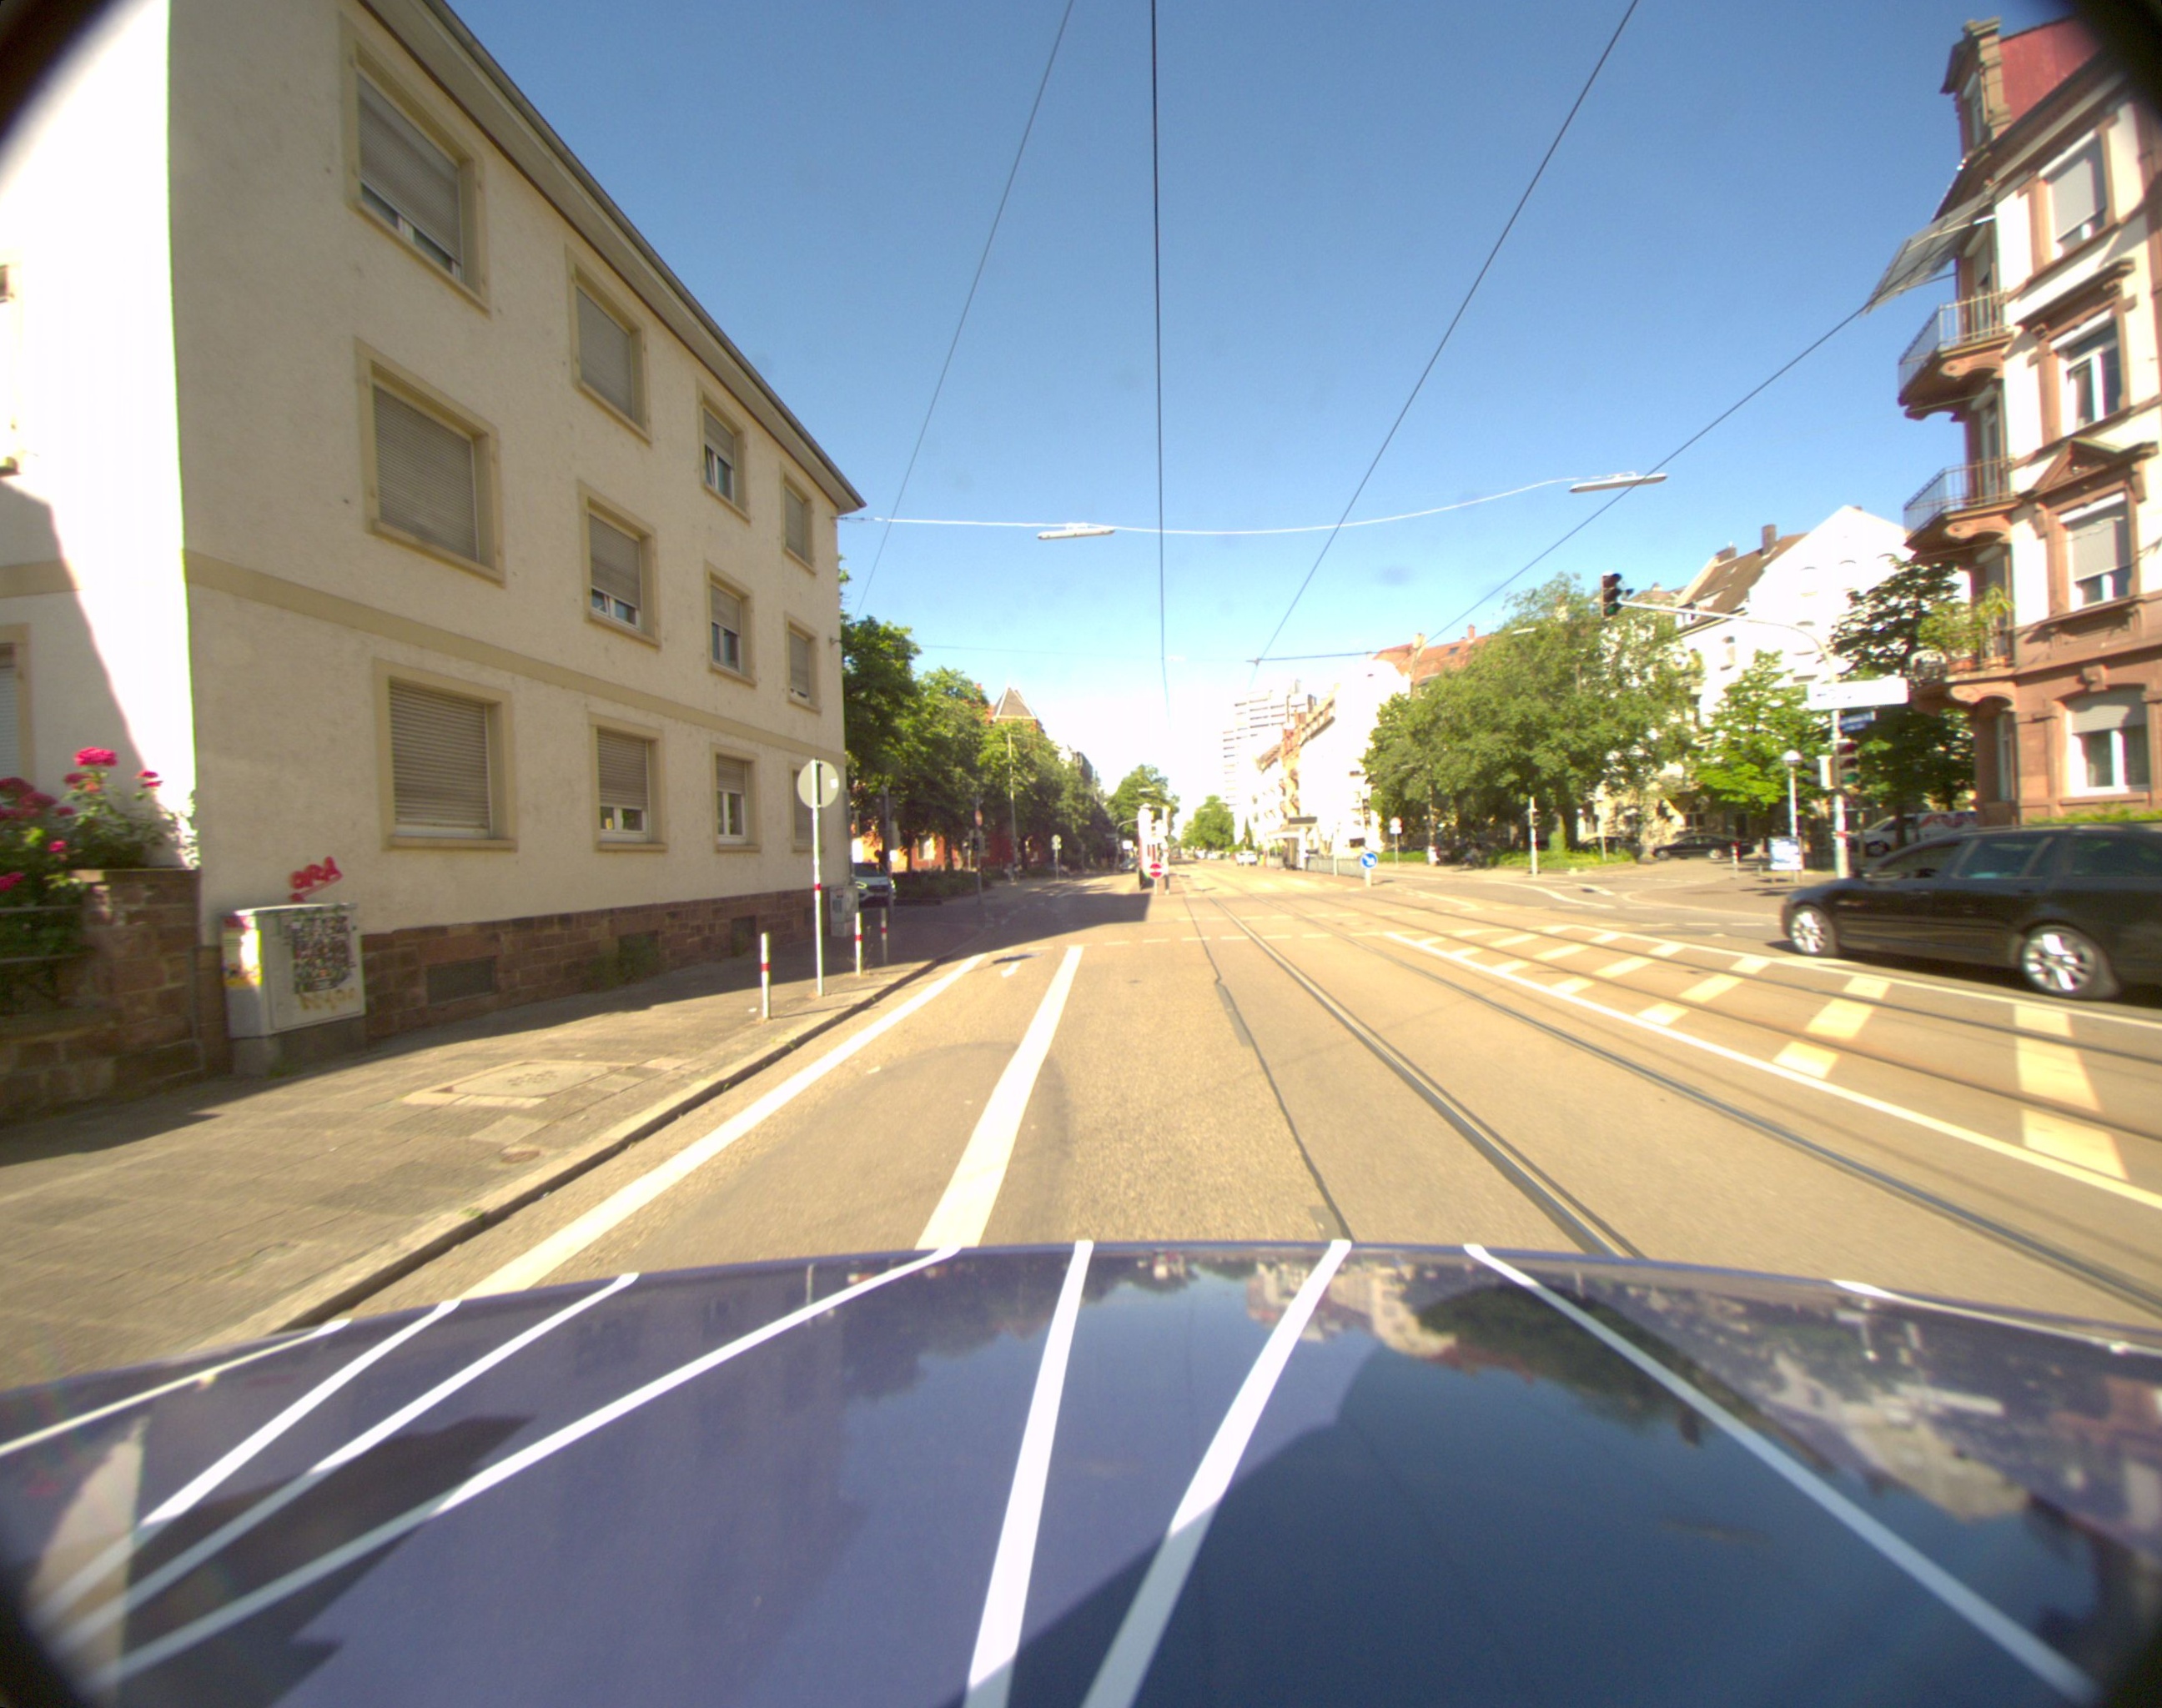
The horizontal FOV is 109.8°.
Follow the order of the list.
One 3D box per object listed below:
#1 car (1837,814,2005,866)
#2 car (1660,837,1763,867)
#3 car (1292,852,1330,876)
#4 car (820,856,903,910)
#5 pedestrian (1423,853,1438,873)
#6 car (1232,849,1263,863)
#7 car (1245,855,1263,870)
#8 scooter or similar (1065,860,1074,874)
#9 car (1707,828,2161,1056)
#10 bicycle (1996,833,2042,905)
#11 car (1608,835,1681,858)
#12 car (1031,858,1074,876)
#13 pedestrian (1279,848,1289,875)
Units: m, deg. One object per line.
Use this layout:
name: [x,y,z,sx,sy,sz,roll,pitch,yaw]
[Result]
car: [38.586,-0.638,35.121,4.846,1.931,1.928,-5,0,37]
car: [34.489,-0.116,41.679,1.741,1.533,4.011,-2,1,-17]
car: [17.393,0.741,57.700,1.901,1.608,4.266,-2,1,5]
car: [-9.683,1.314,33.242,1.690,2.079,4.747,-5,0,-38]
pedestrian: [23.699,0.617,51.518,0.658,1.274,0.724,-5,0,7]
car: [23.585,0.245,107.510,3.884,1.581,1.817,-5,4,2]
car: [19.839,0.954,87.209,1.693,1.531,3.801,-4,0,10]
scooter or similar: [-1.021,1.220,68.832,0.519,1.241,1.277,-4,-2,7]
car: [8.907,0.607,7.398,1.836,1.509,4.969,-6,0,6]
bicycle: [19.164,0.279,15.546,2.049,1.288,0.419,-5,0,-42]
car: [34.107,-0.414,46.077,1.527,1.208,3.455,-5,0,-8]
car: [-2.744,1.287,73.660,3.617,1.390,1.724,-5,0,-28]
pedestrian: [14.103,0.516,52.785,0.466,1.774,0.673,-4,1,5]
